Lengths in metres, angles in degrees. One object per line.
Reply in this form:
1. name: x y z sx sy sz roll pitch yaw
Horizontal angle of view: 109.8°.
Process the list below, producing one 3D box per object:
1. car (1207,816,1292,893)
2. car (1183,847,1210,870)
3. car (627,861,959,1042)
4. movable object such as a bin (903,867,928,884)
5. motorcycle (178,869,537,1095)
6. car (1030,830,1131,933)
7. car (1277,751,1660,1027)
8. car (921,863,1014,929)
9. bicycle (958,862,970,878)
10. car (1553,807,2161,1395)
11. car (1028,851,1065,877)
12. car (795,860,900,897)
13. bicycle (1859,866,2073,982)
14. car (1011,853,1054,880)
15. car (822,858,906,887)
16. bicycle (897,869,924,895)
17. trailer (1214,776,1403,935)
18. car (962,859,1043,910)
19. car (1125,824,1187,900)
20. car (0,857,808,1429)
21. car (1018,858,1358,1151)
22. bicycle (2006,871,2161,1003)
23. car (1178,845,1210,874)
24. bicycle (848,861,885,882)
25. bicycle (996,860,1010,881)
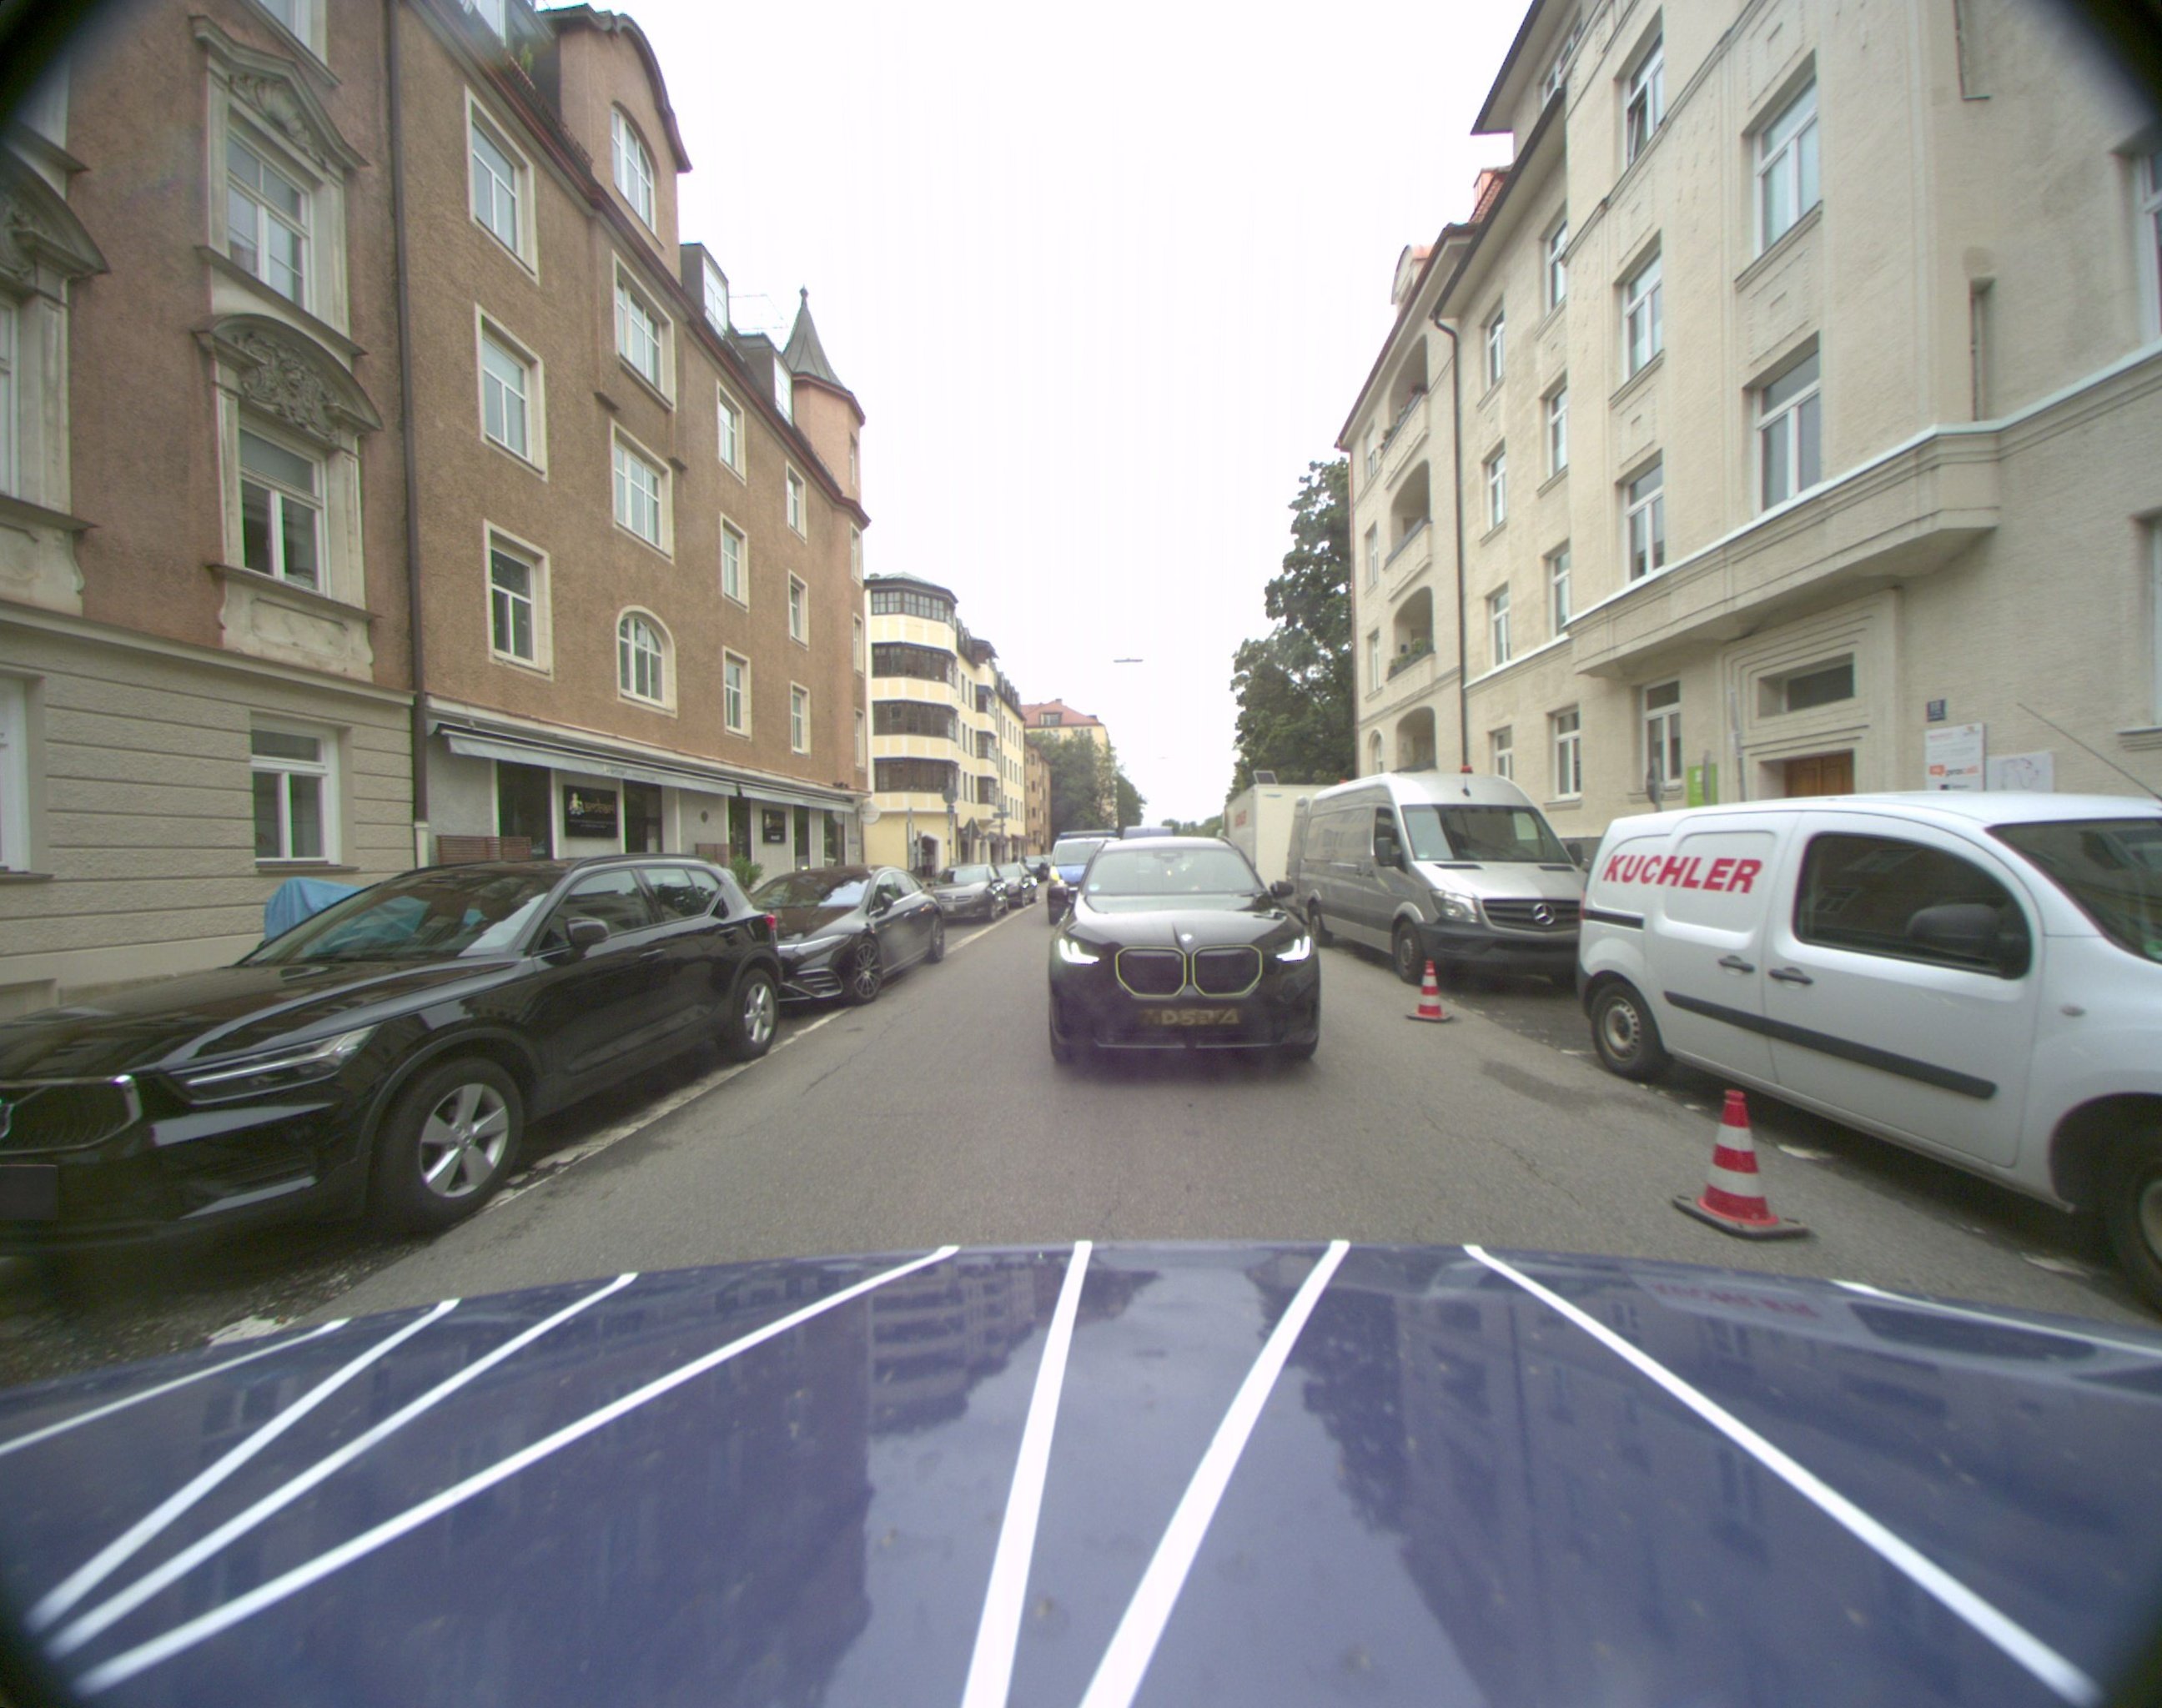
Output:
1. car: 6.271 0.019 29.152 2.146 2.557 6.796 -1 0 4
2. car: 8.495 0.298 56.075 1.816 1.455 4.166 3 1 9
3. car: -3.140 0.940 9.887 1.935 1.544 5.637 -2 0 2
4. movable object such as a bin: -8.839 1.134 40.529 1.125 0.895 0.684 -1 1 4
5. motorcycle: -5.687 0.906 6.215 0.873 1.496 1.998 -2 1 5
6. car: 0.175 0.561 18.805 1.826 2.086 5.635 -3 0 6
7. car: 4.622 0.317 10.779 2.060 2.572 6.877 3 1 3
8. car: -2.788 0.977 19.439 1.576 1.386 4.182 -1 1 2
9. bicycle: -7.194 0.998 46.619 0.262 0.897 1.696 3 1 6
10. car: 4.218 0.740 3.373 1.767 1.768 4.327 1 1 4
11. car: -2.402 0.660 53.511 1.816 1.580 4.165 3 1 7
12. car: -10.011 1.041 32.744 3.881 1.479 1.893 -1 1 4
13. bicycle: 9.708 0.717 8.441 0.429 1.098 1.743 -2 1 3
14. car: -3.048 0.753 48.301 2.111 1.613 4.497 -1 1 4
15. car: -11.067 0.983 38.926 3.741 1.431 1.753 -1 -2 7
16. bicycle: -6.781 1.100 30.296 0.496 0.999 1.804 1 -1 6
17. trailer: 4.987 0.040 18.268 2.809 2.951 7.603 2 0 5
18. car: -2.443 0.928 24.874 1.851 1.397 4.788 -2 0 3
19. car: 2.733 0.186 28.375 2.005 2.477 6.233 -2 1 4
20. car: -3.480 0.955 4.577 1.697 1.667 4.408 -4 1 4
21. car: 0.668 0.877 6.474 1.921 1.557 4.293 -1 1 1
22. bicycle: 9.643 0.738 6.906 0.429 1.098 1.736 -2 1 3
23. car: 6.972 0.302 47.254 1.817 1.580 4.165 3 1 7
24. bicycle: -11.967 0.968 42.383 1.904 1.180 0.515 -1 1 4
25. bicycle: -4.559 0.943 44.333 0.430 1.152 2.053 0 1 5
